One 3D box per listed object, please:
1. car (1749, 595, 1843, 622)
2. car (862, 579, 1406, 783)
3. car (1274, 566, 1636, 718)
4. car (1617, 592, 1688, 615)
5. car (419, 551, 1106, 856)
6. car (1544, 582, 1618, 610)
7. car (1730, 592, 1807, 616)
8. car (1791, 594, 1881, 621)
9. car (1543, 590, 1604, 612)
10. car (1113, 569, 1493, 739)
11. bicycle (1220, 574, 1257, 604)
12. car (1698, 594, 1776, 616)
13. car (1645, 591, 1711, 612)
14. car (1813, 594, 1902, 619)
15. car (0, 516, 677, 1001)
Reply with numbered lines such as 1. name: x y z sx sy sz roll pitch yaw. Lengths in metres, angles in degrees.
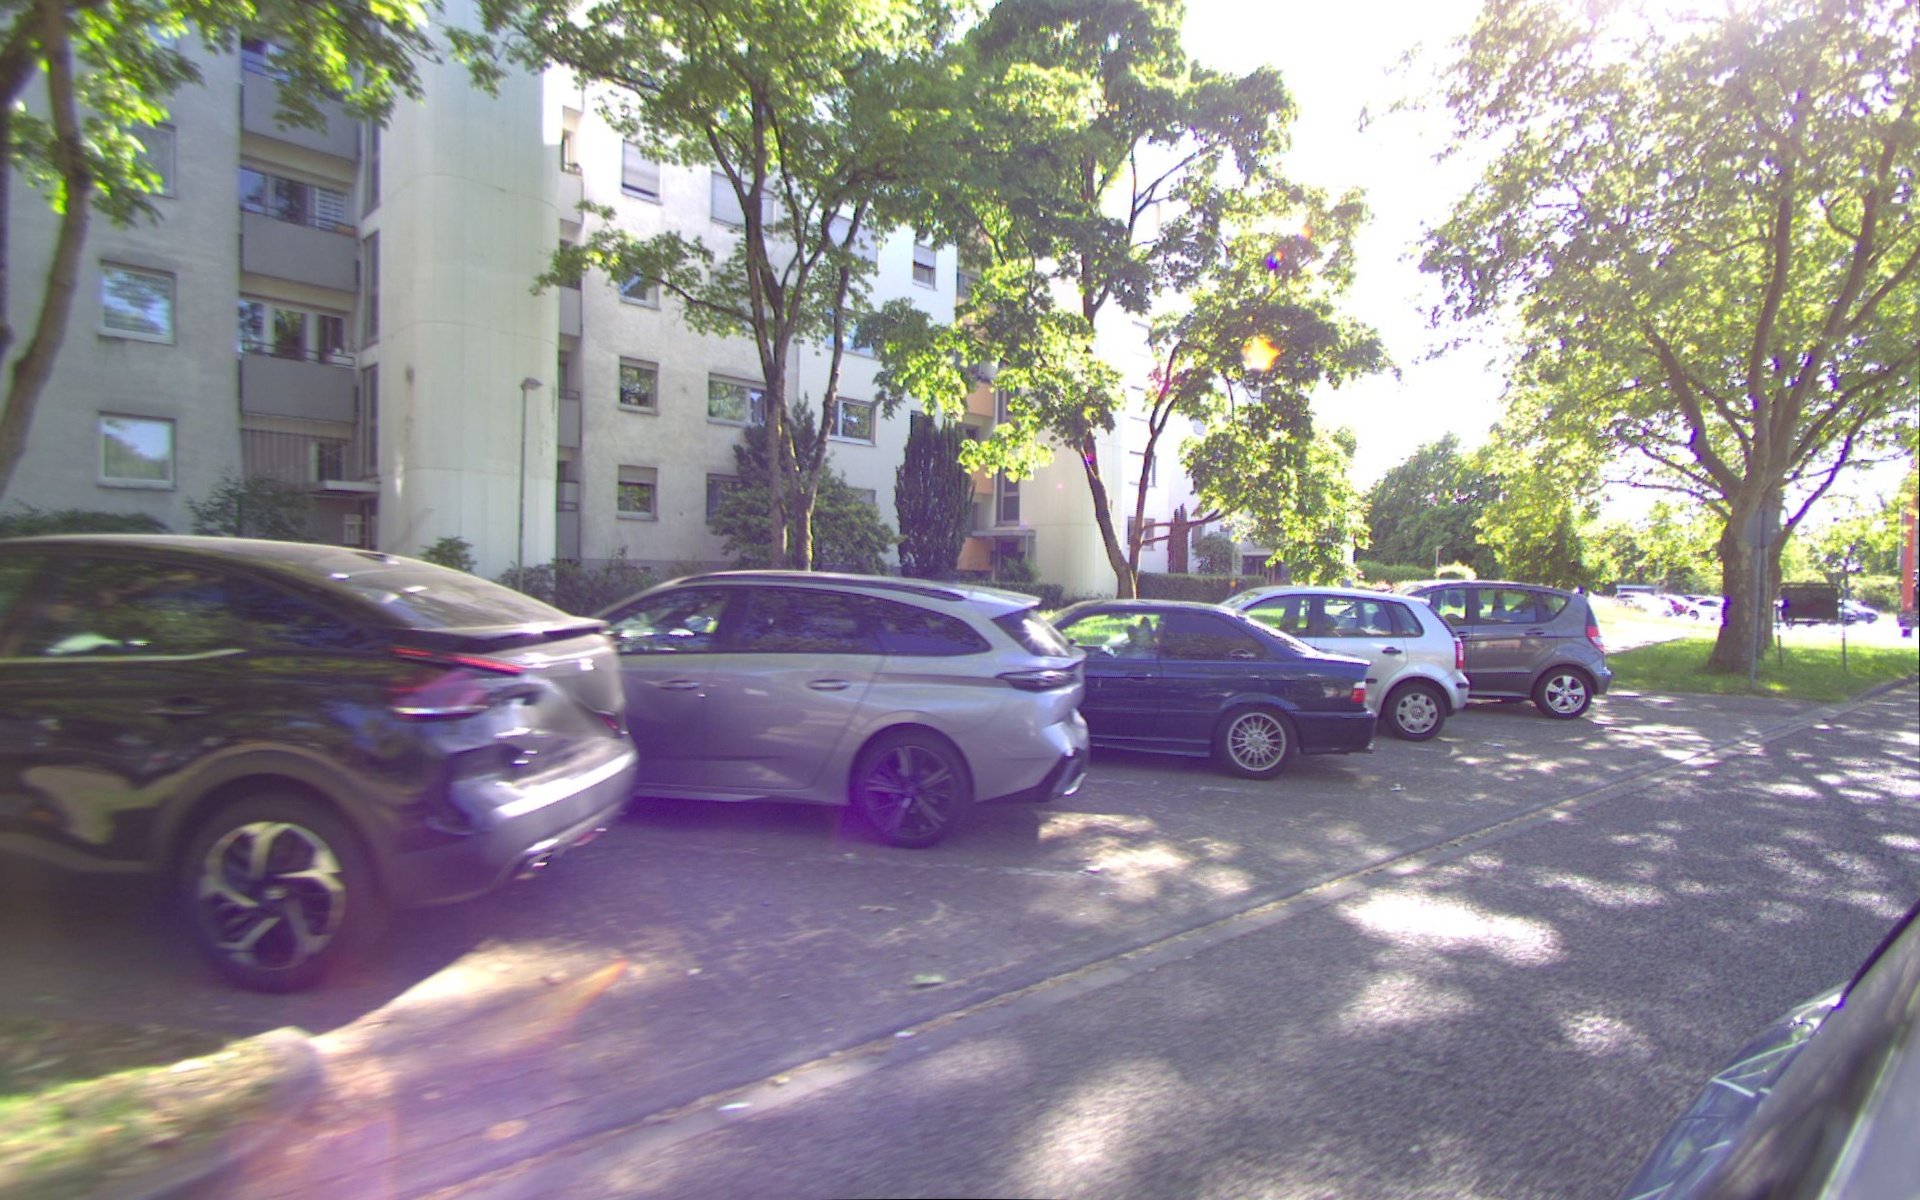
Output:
1. car: 51.152 0.462 62.041 1.762 1.500 4.294 0 1 -12
2. car: 1.382 0.570 8.679 4.080 1.334 1.795 2 2 10
3. car: 6.044 0.442 12.799 3.666 1.612 1.796 2 2 9
4. car: 48.658 0.231 71.159 1.762 1.529 4.008 0 1 -12
5. car: -1.069 0.505 6.412 3.821 1.463 1.797 2 2 7
6. car: 50.396 -0.347 82.248 2.049 2.113 5.204 0 1 -12
7. car: 56.418 0.231 70.695 1.762 1.529 4.008 0 1 -12
8. car: 54.626 0.433 63.201 1.762 1.500 4.008 0 1 -12
9. car: 47.196 0.031 77.942 1.762 1.604 4.008 0 1 -12
10. car: 3.473 0.490 10.891 3.524 1.510 1.796 2 2 9
11. bicycle: 10.762 -0.418 39.043 0.499 1.120 1.772 8 5 43
12. car: 53.013 0.330 69.124 1.762 1.409 4.008 0 1 -12
13. car: 54.805 0.066 77.314 1.762 1.500 4.008 0 1 -12
14. car: 57.638 0.383 65.070 1.762 1.500 4.008 0 1 -12
15. car: -3.534 0.440 4.328 4.102 1.529 1.799 2 2 4
